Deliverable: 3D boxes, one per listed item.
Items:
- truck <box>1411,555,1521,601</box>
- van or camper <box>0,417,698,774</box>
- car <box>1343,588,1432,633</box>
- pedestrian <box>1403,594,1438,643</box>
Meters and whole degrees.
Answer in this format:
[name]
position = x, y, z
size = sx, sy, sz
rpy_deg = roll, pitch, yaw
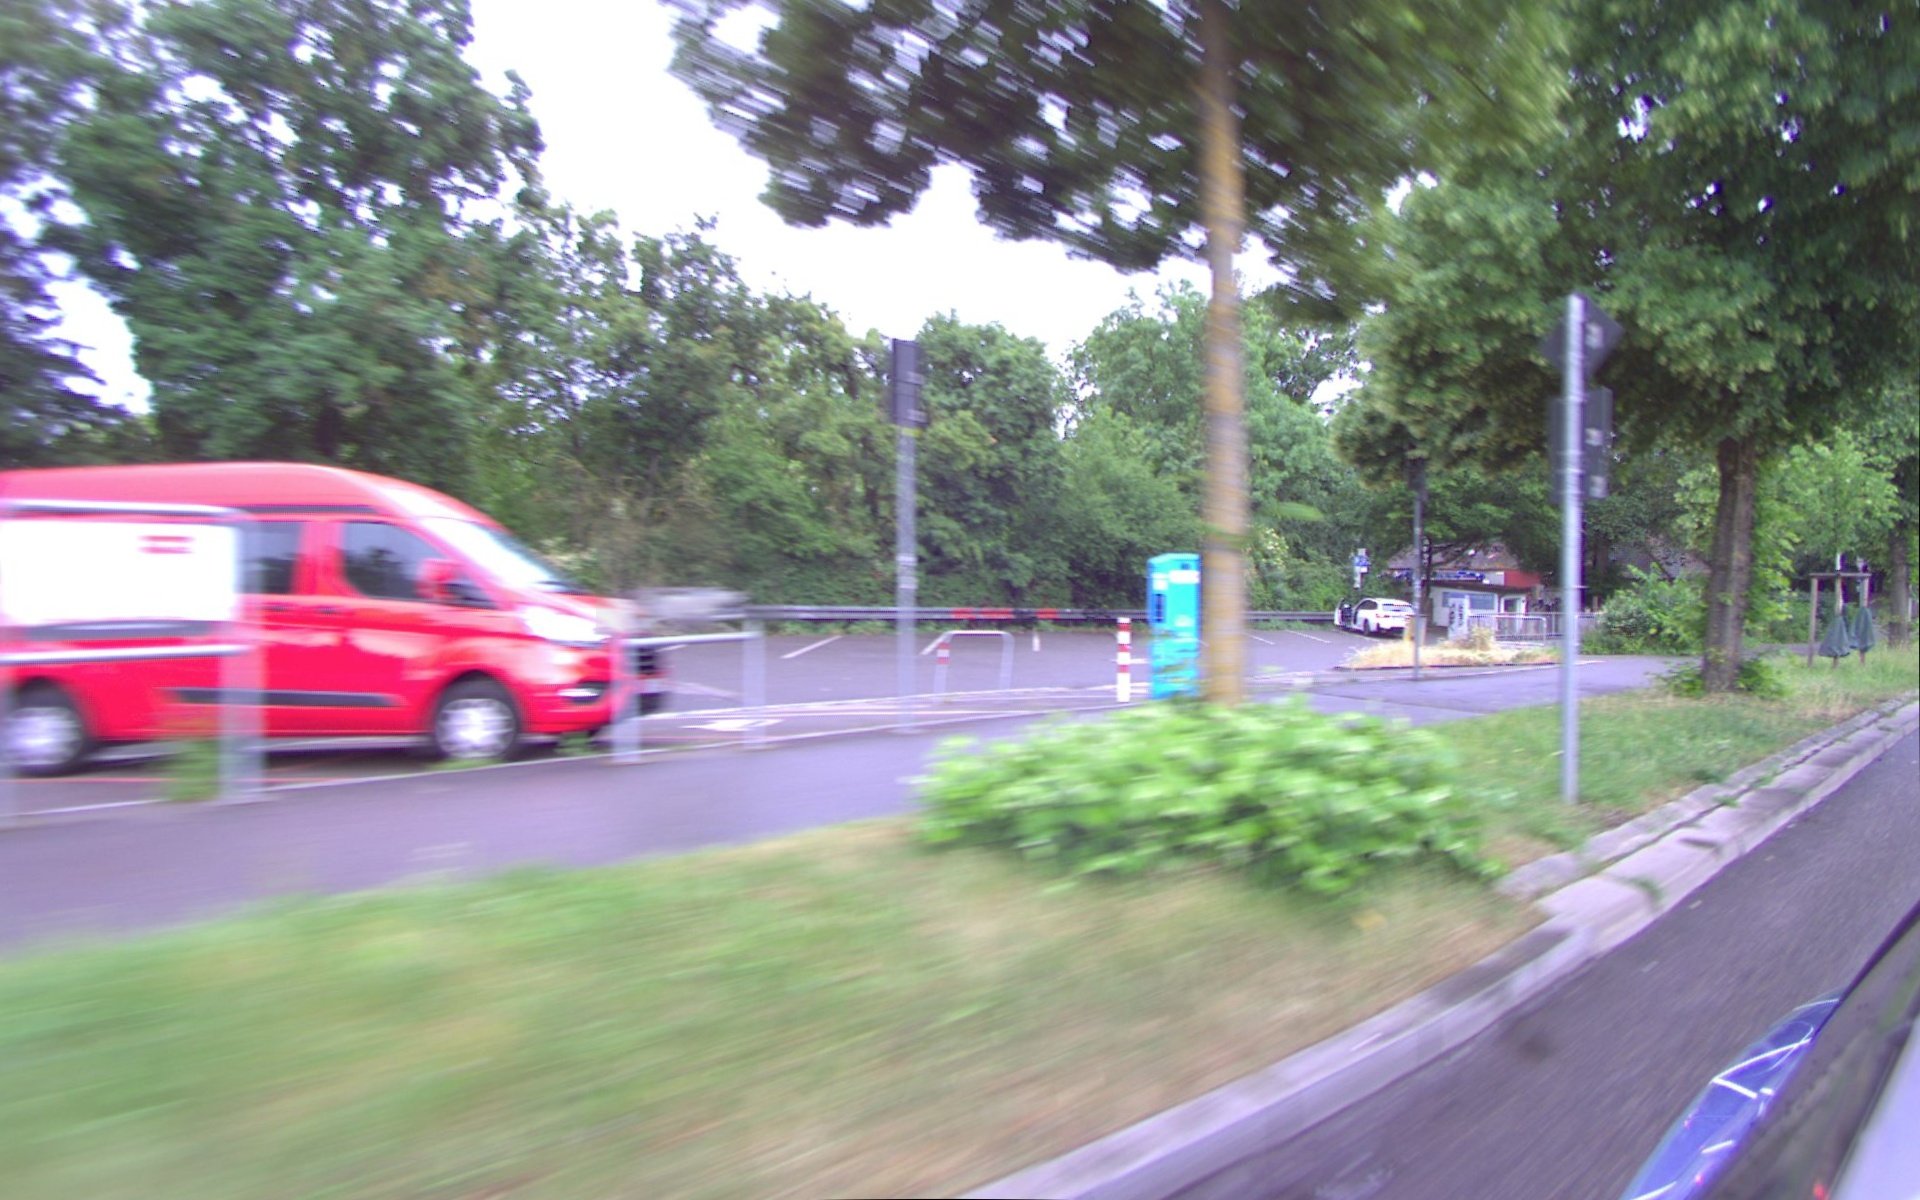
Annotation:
[truck]
position = 33.461, -1.448, 66.933
size = 6.469, 2.903, 2.064
rpy_deg = 1, 1, -10
[van or camper]
position = -5.084, 0.026, 8.325
size = 5.293, 2.437, 2.039
rpy_deg = -2, -2, 3
[car]
position = 16.503, 0.341, 39.337
size = 1.966, 1.599, 4.642
rpy_deg = 1, 1, 7
[pedestrian]
position = 17.994, 0.706, 39.553
size = 0.881, 1.792, 0.942
rpy_deg = 2, 2, 6
